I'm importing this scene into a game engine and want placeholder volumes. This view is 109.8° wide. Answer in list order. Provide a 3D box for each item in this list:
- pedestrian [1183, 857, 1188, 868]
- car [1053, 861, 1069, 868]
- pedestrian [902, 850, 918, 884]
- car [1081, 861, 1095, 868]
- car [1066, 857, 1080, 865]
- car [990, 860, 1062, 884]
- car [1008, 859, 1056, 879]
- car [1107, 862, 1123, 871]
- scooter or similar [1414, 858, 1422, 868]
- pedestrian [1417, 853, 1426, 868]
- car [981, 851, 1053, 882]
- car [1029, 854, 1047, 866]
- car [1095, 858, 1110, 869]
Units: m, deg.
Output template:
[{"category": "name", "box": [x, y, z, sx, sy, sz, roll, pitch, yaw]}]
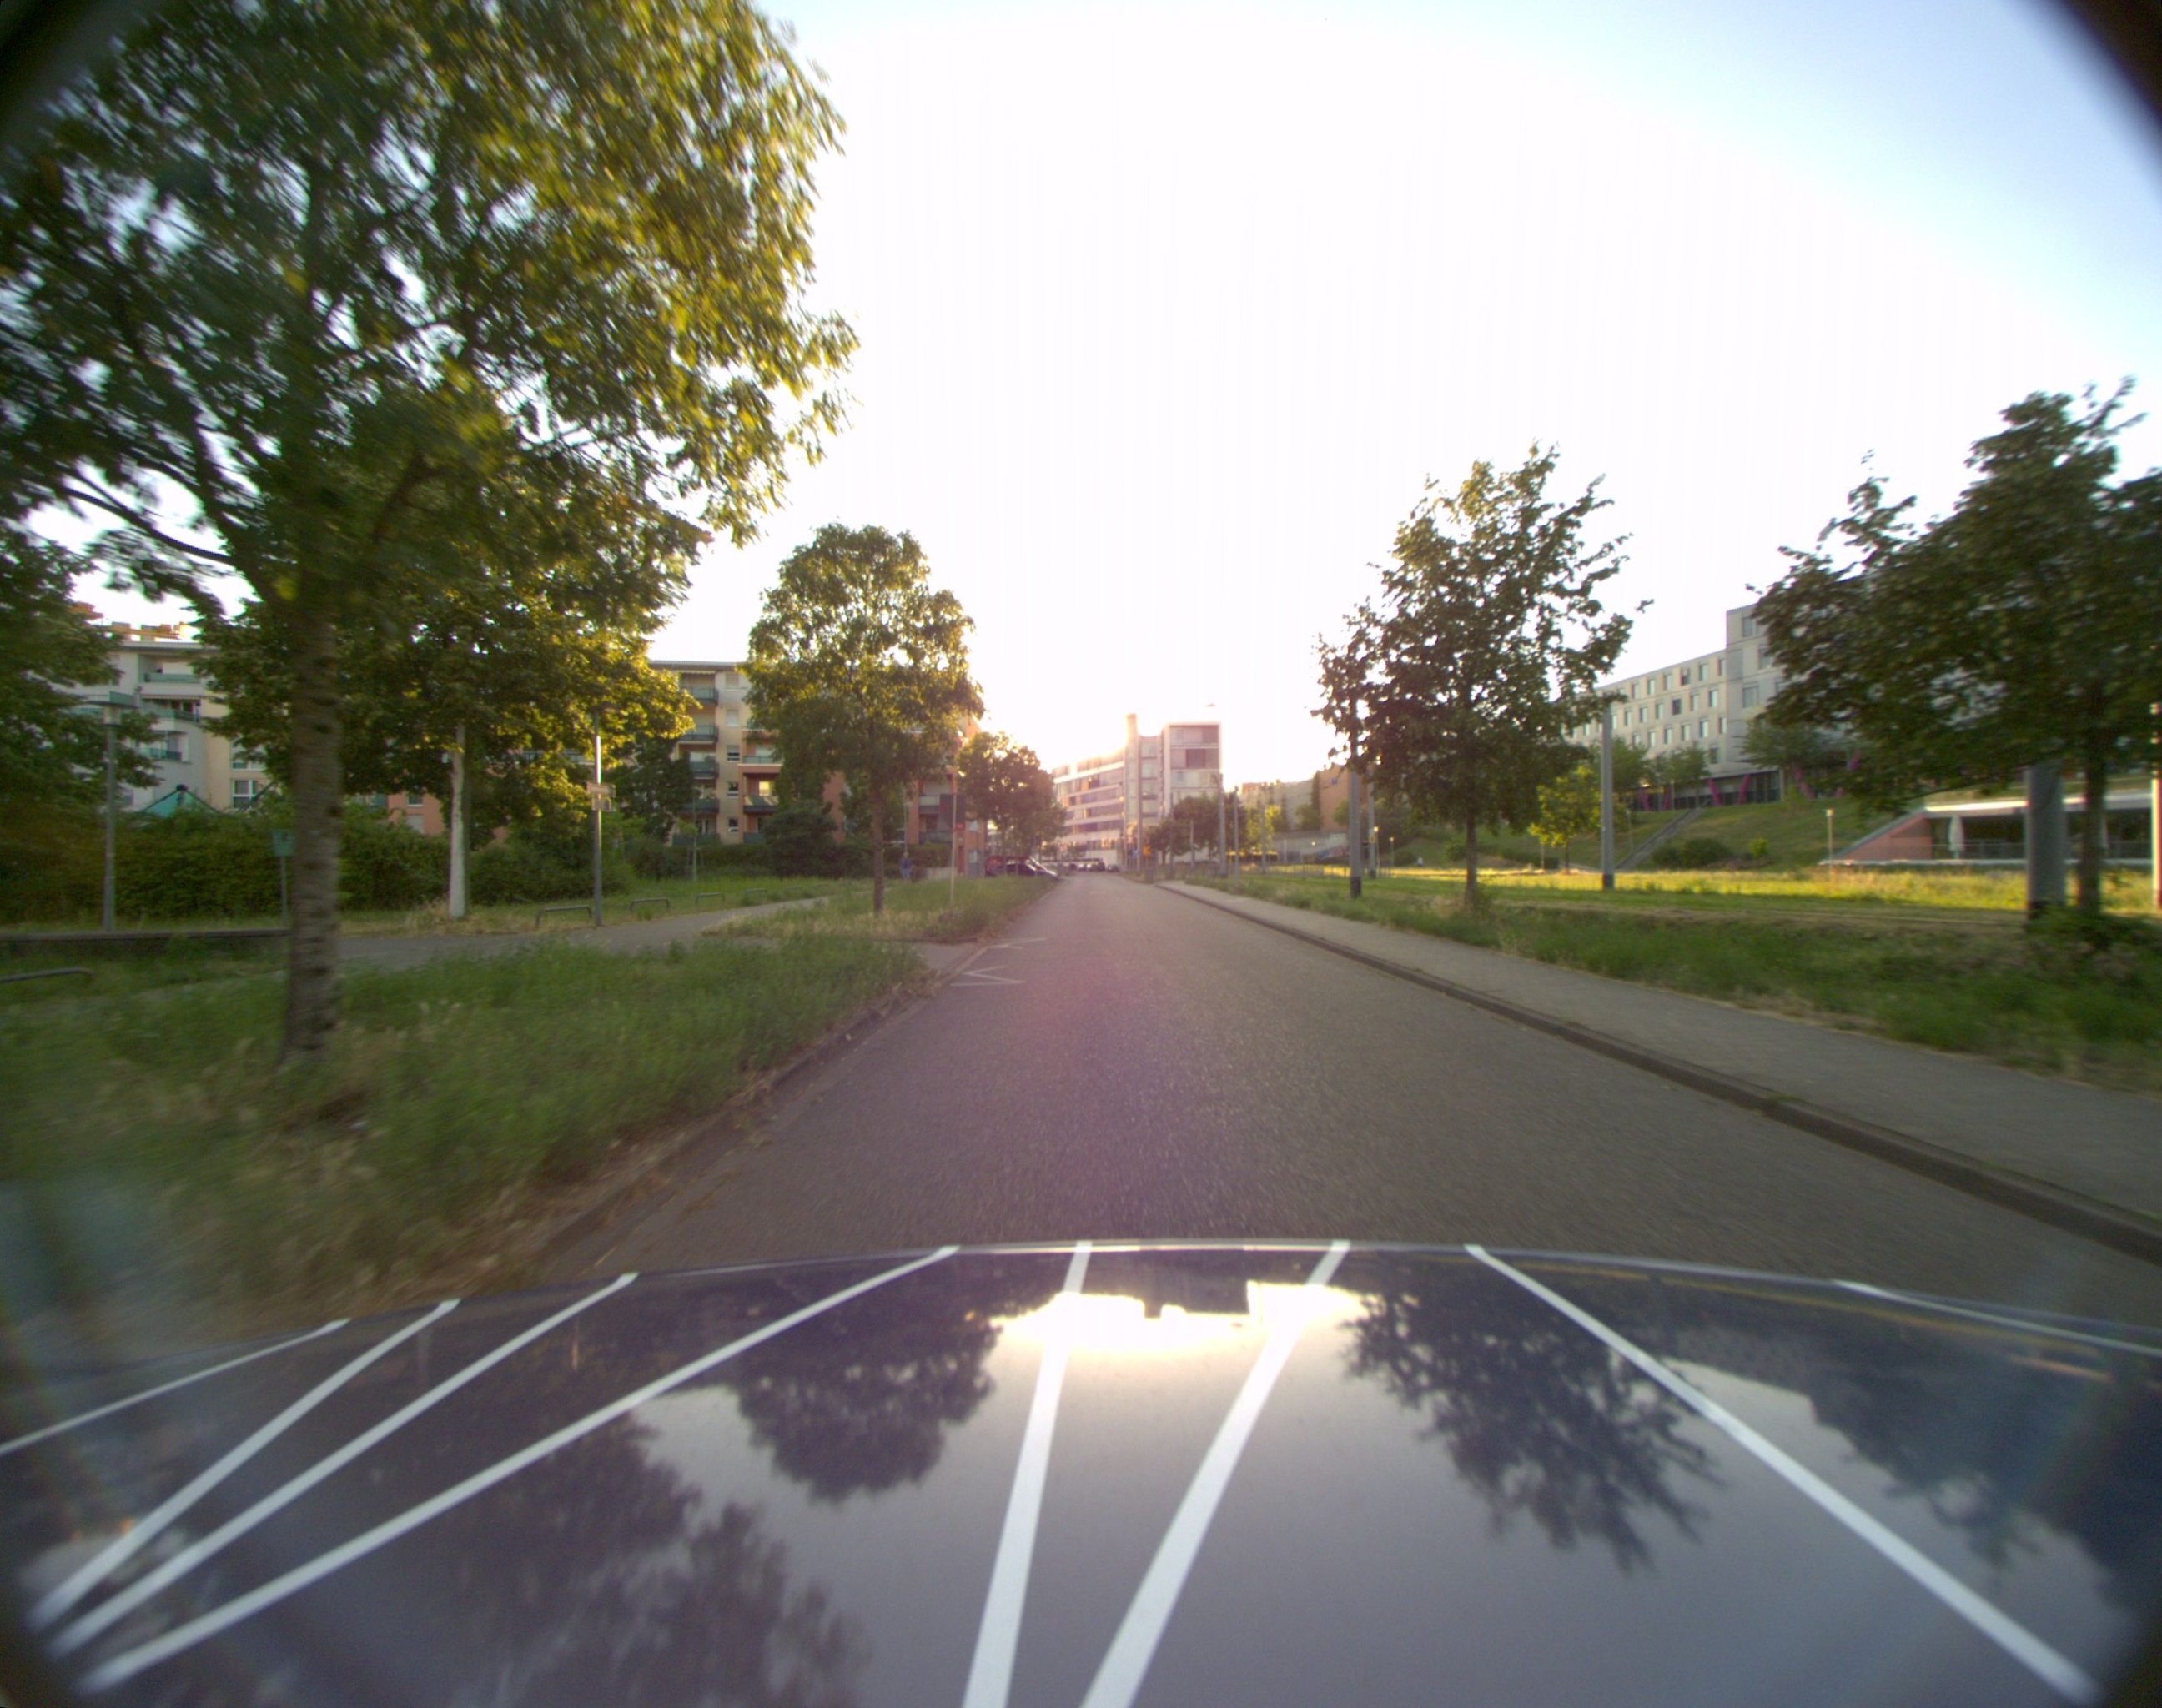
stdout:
[{"category": "pedestrian", "box": [16.515, 1.358, 120.324, 0.450, 1.826, 0.483, -3, 0, -20]}, {"category": "car", "box": [-4.392, 2.292, 167.572, 1.800, 1.542, 3.991, -3, 0, -27]}, {"category": "pedestrian", "box": [-8.817, 0.645, 39.181, 0.670, 1.733, 0.699, -1, 0, 0]}, {"category": "car", "box": [1.426, 2.086, 152.496, 1.655, 1.468, 3.760, -1, -1, -19]}, {"category": "car", "box": [-1.644, 1.534, 161.425, 1.799, 1.676, 3.994, -1, 0, -19]}, {"category": "car", "box": [-3.715, 1.225, 51.467, 4.680, 1.547, 1.811, -1, 0, 1]}, {"category": "car", "box": [-3.671, 1.119, 57.334, 3.534, 1.456, 1.615, 1, 0, 1]}, {"category": "car", "box": [5.928, 2.198, 132.613, 1.858, 1.433, 4.225, -3, 0, -9]}, {"category": "scooter or similar", "box": [43.009, 1.086, 96.887, 0.618, 1.236, 0.790, -3, 0, -1]}, {"category": "pedestrian", "box": [43.018, 0.846, 96.037, 0.618, 1.826, 0.790, -3, 0, -1]}, {"category": "car", "box": [-4.564, 0.906, 54.515, 4.931, 2.104, 2.017, -1, 0, 2]}, {"category": "car", "box": [-10.241, 1.481, 180.654, 2.008, 2.858, 6.243, 0, -1, -24]}, {"category": "car", "box": [4.015, 1.836, 143.928, 1.895, 1.961, 4.514, -3, 0, -10]}]
